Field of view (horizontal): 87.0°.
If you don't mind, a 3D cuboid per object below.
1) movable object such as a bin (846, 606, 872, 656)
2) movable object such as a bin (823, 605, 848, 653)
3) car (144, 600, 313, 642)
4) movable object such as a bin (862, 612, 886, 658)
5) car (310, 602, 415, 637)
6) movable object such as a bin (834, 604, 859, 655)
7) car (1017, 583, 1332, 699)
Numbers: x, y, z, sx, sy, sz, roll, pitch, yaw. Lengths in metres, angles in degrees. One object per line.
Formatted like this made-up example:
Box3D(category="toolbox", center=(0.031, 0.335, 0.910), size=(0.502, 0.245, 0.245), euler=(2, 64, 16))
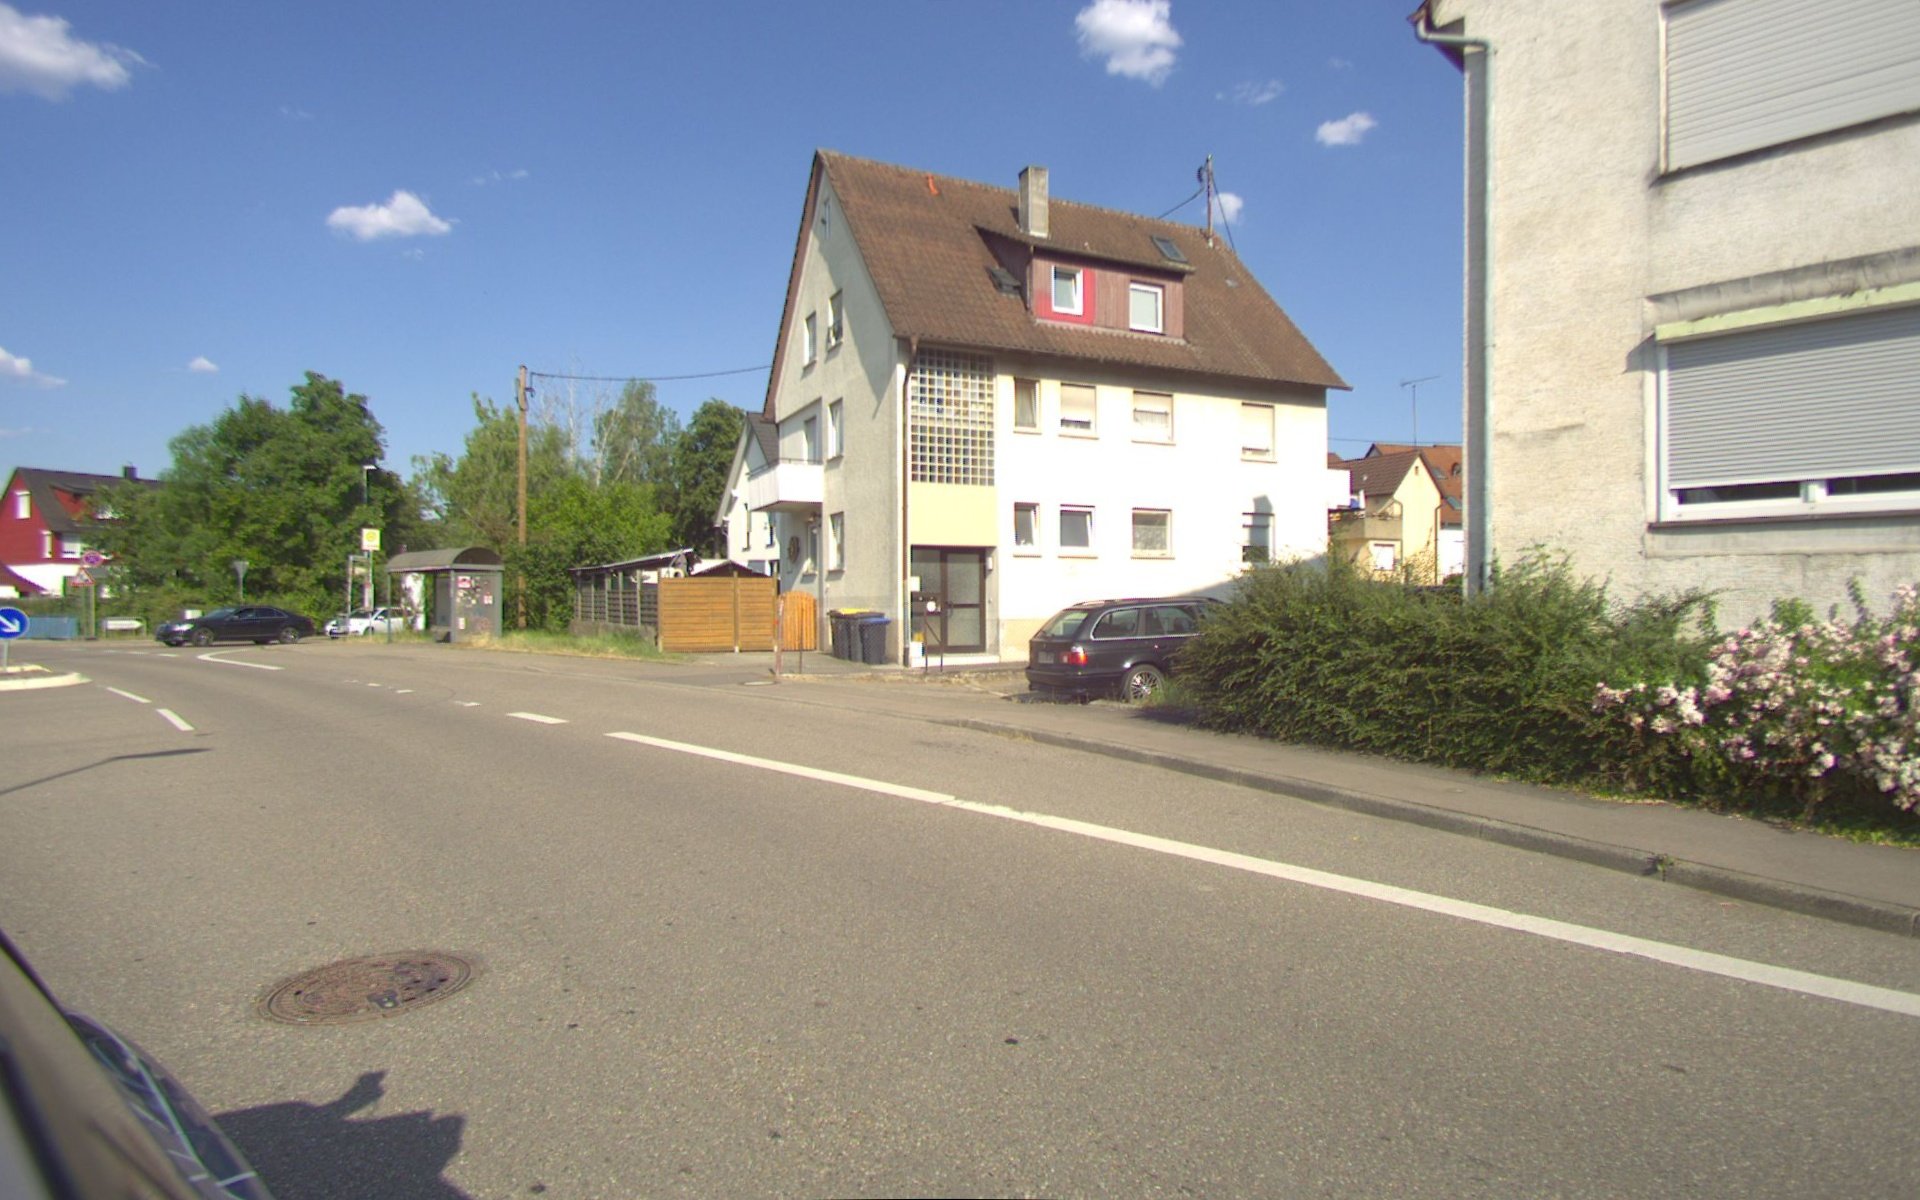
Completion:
Box3D(category="movable object such as a bin", center=(-2.131, 0.639, 21.294), size=(0.356, 1.030, 0.579), euler=(0, 1, -28))
Box3D(category="movable object such as a bin", center=(-2.758, 0.629, 22.378), size=(0.356, 1.023, 0.560), euler=(0, 1, -28))
Box3D(category="car", center=(-26.693, 0.731, 37.145), size=(1.760, 1.442, 4.806), euler=(0, 0, 23))
Box3D(category="movable object such as a bin", center=(-1.771, 0.717, 20.816), size=(0.356, 0.932, 0.401), euler=(0, 1, -28))
Box3D(category="car", center=(-26.843, 0.844, 45.656), size=(1.841, 1.503, 4.264), euler=(0, 0, 9))
Box3D(category="movable object such as a bin", center=(-2.443, 0.626, 21.775), size=(0.356, 1.049, 0.560), euler=(0, 1, -28))
Box3D(category="car", center=(2.925, 0.510, 13.973), size=(3.931, 1.444, 1.658), euler=(0, 0, -17))
